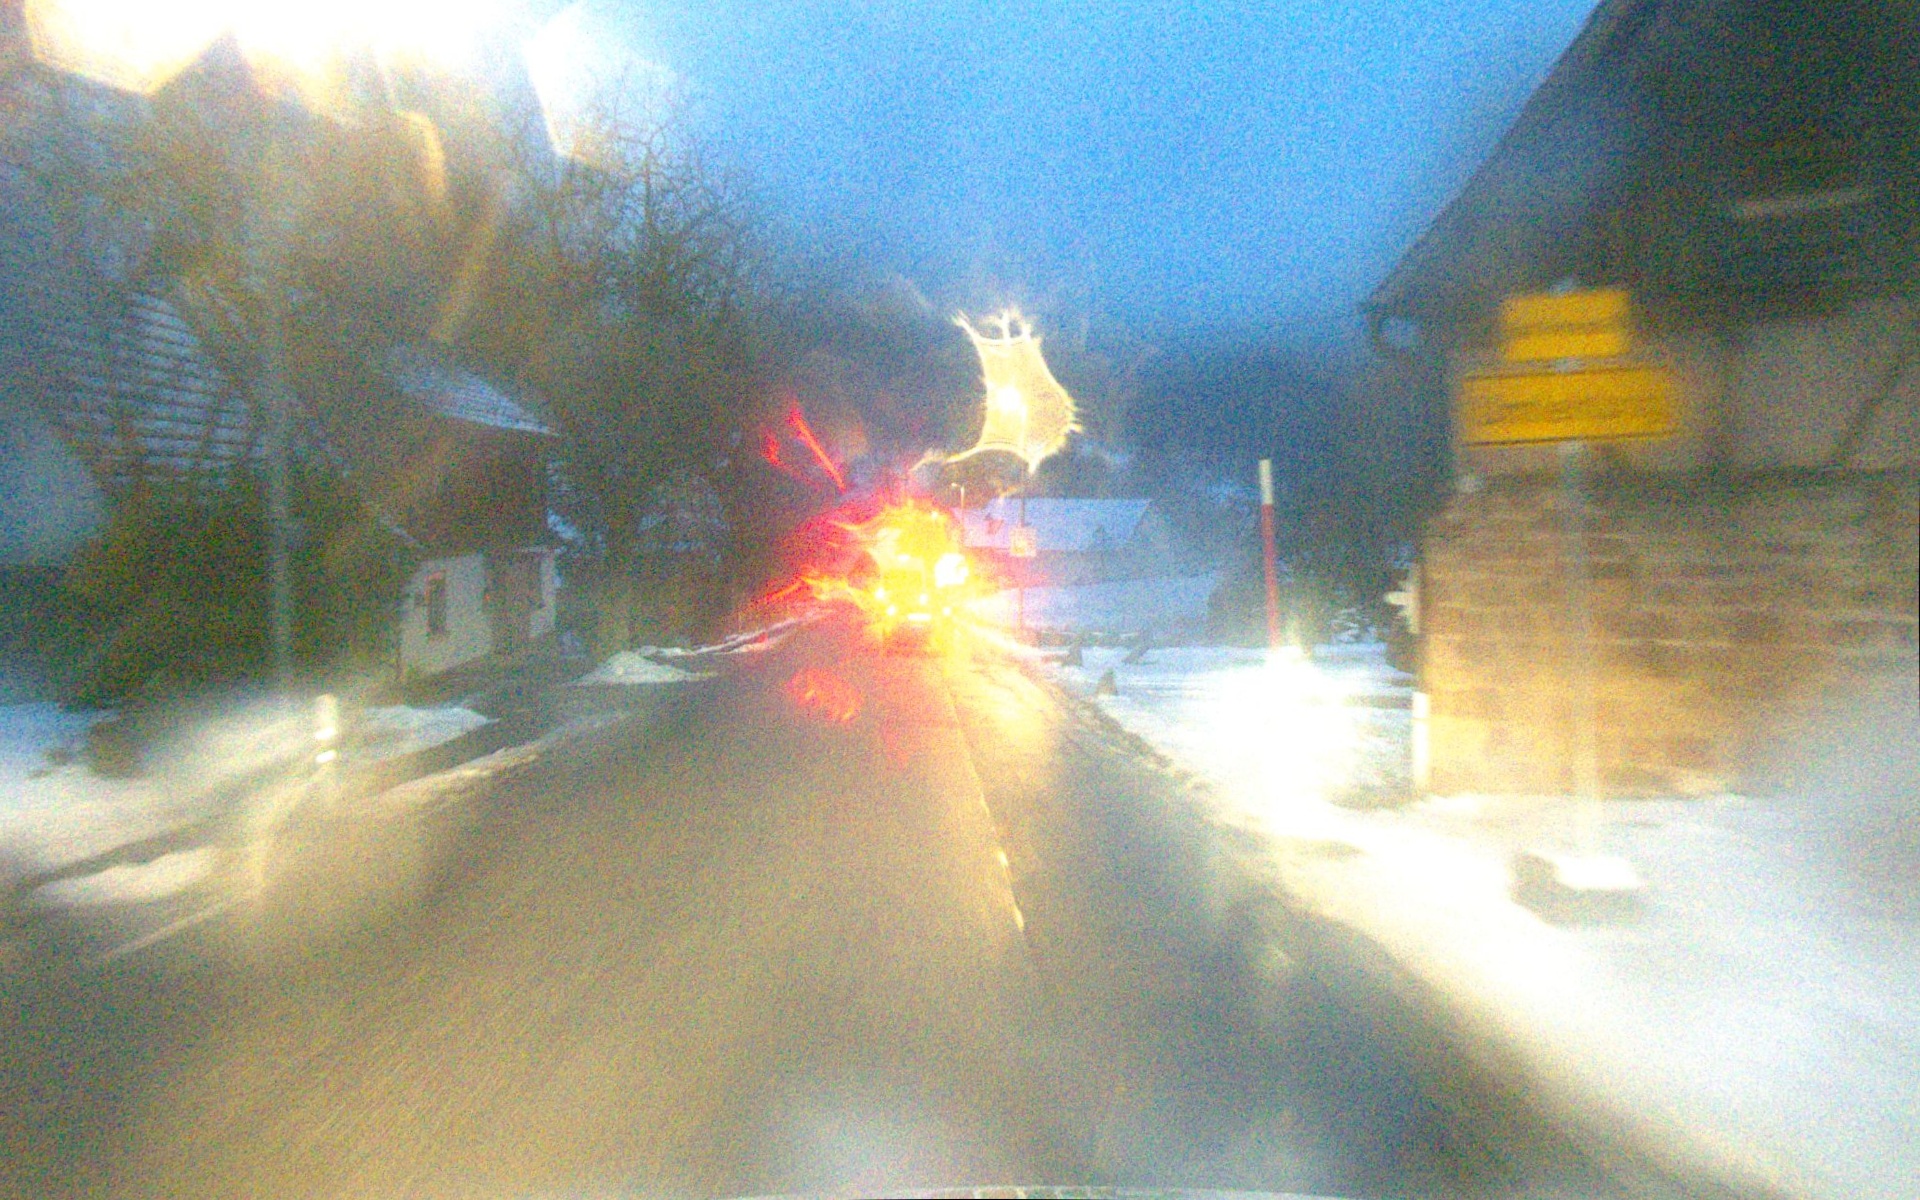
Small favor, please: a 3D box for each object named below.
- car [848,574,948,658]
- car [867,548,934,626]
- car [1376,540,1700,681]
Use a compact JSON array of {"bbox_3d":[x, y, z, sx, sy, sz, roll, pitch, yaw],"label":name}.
[{"bbox_3d":[-1.452,0.335,39.686,2.228,1.873,5.005,-1,0,-2],"label":"car"},{"bbox_3d":[-2.429,-0.476,68.897,2.384,3.072,5.326,0,-1,2],"label":"car"},{"bbox_3d":[8.818,0.141,25.553,4.304,1.685,1.863,-6,1,6],"label":"car"}]
